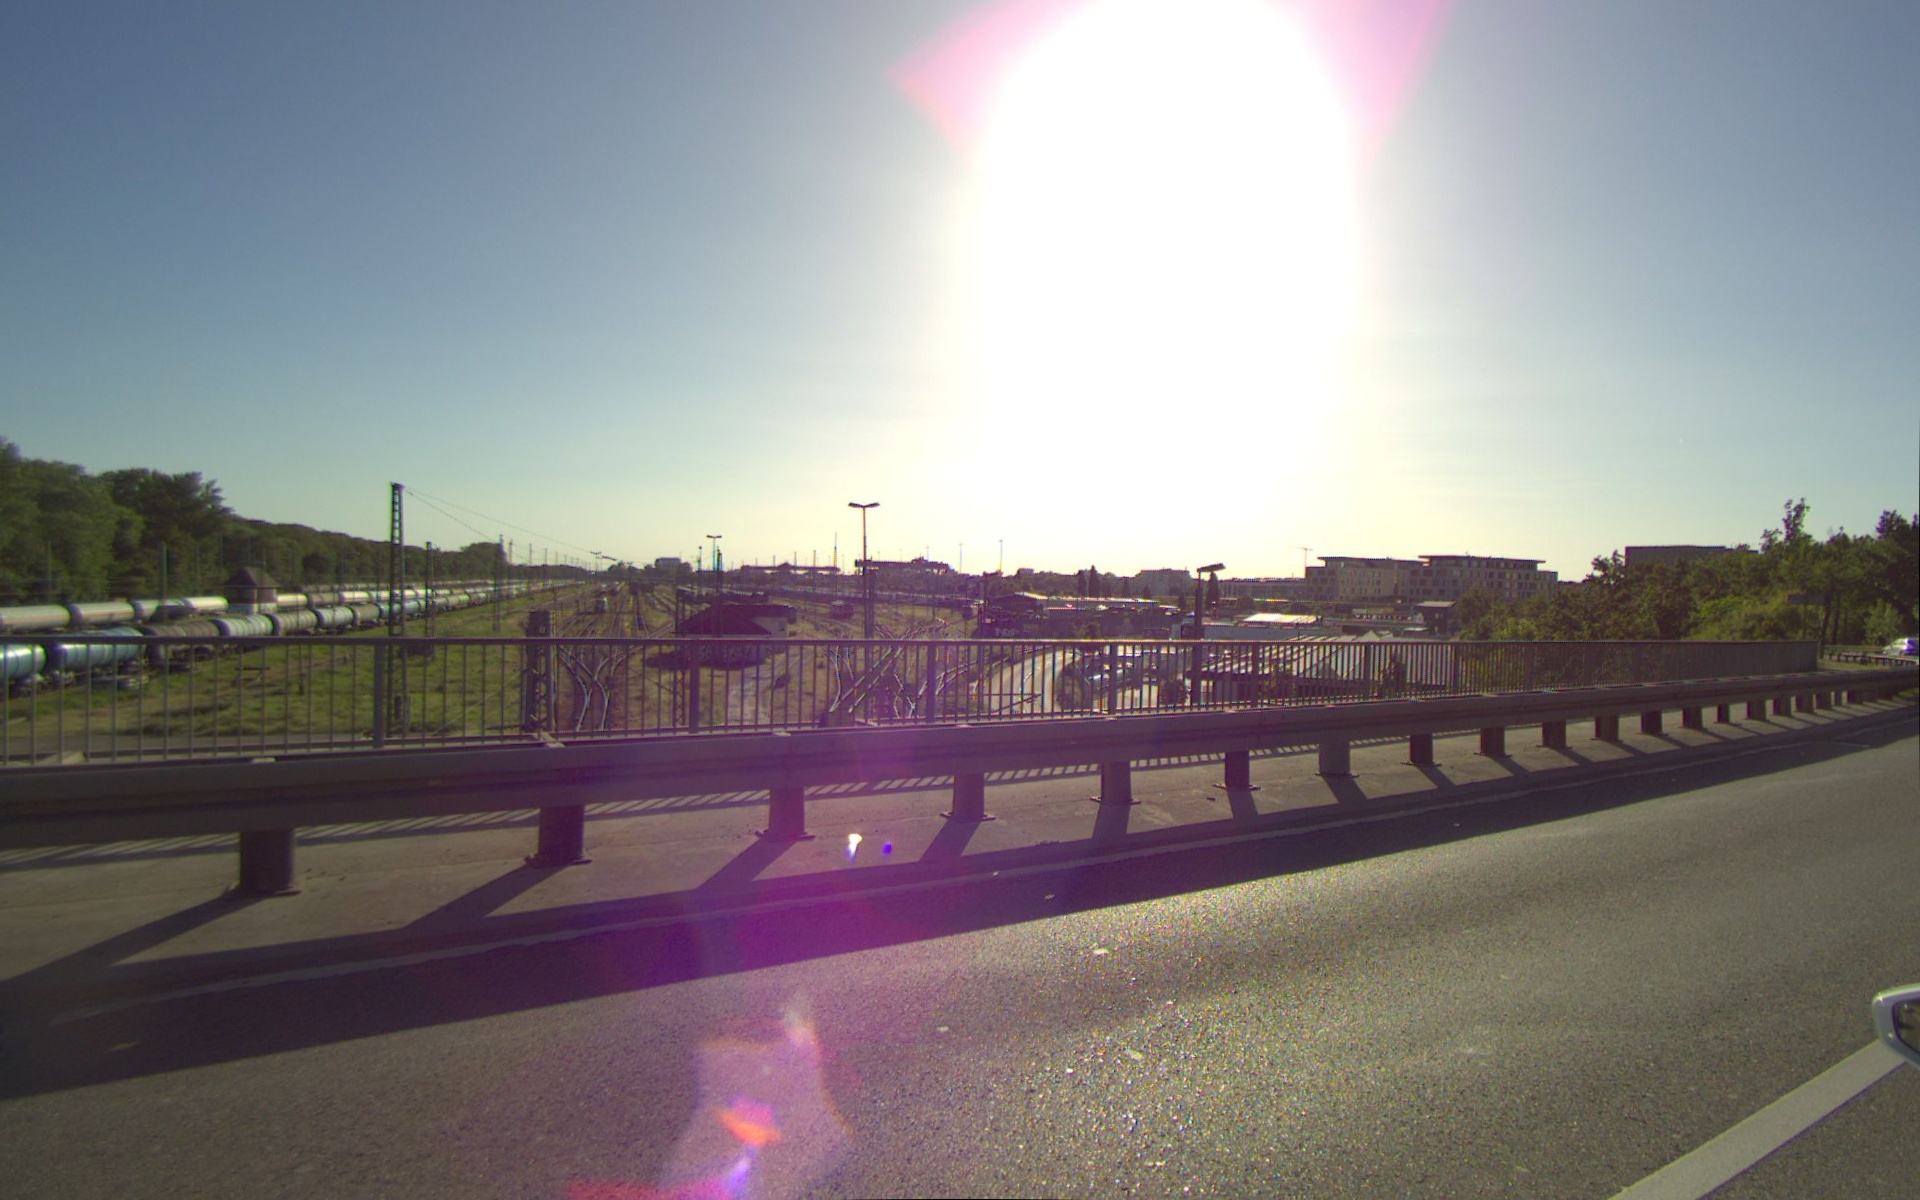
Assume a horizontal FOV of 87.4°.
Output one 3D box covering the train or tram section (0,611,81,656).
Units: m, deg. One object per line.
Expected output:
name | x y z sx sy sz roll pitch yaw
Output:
train or tram section | -115.905 3.944 124.378 3.986 5.153 17.793 1 -1 -19

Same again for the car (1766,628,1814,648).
car | 69.922 3.150 84.671 1.805 1.576 3.894 0 -1 18

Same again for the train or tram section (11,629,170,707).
train or tram section | -72.580 5.422 84.608 3.844 5.592 16.440 1 -1 -18

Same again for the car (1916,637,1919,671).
car | 46.680 2.608 47.258 1.873 1.664 4.448 0 -1 36

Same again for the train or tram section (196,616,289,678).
train or tram section | -82.965 5.223 116.713 3.844 6.699 16.440 1 -1 -18

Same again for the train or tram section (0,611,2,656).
train or tram section | -110.172 3.716 107.347 3.986 5.153 18.111 1 -1 -19

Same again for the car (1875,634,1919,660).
car | 60.503 2.991 64.715 1.835 1.606 3.901 0 -1 36

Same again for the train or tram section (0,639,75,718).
train or tram section | -67.560 5.451 69.009 3.844 5.083 16.303 1 -1 -18
